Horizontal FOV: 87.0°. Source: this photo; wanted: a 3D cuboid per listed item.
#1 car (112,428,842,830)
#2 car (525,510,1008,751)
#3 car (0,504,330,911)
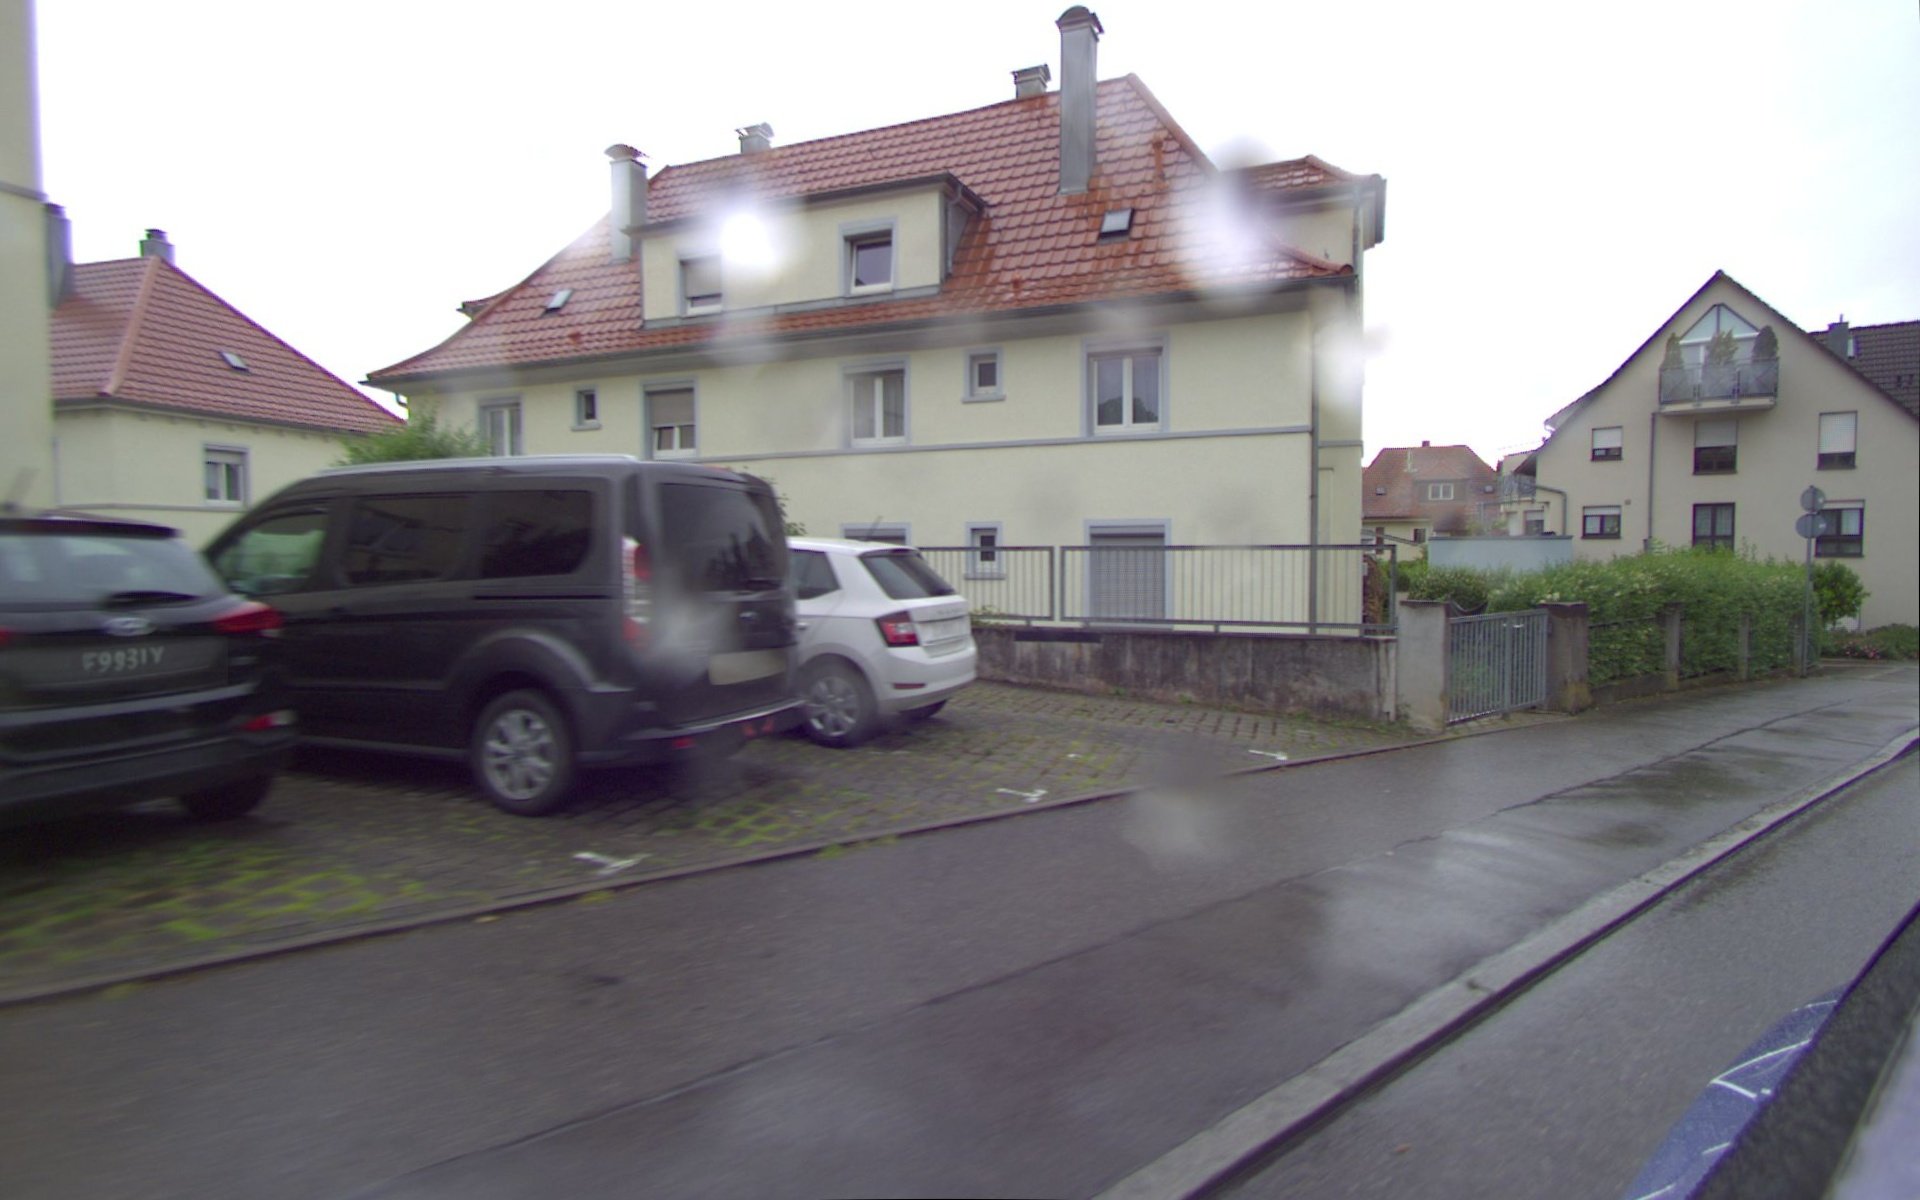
[{"bbox_3d":[-2.870,-0.021,6.101,3.887,1.803,1.760,4,4,20],"label":"car"},{"bbox_3d":[-1.547,0.109,8.199,3.485,1.492,1.676,4,4,22],"label":"car"},{"bbox_3d":[-4.787,0.255,4.397,3.481,1.355,1.679,4,4,19],"label":"car"}]
